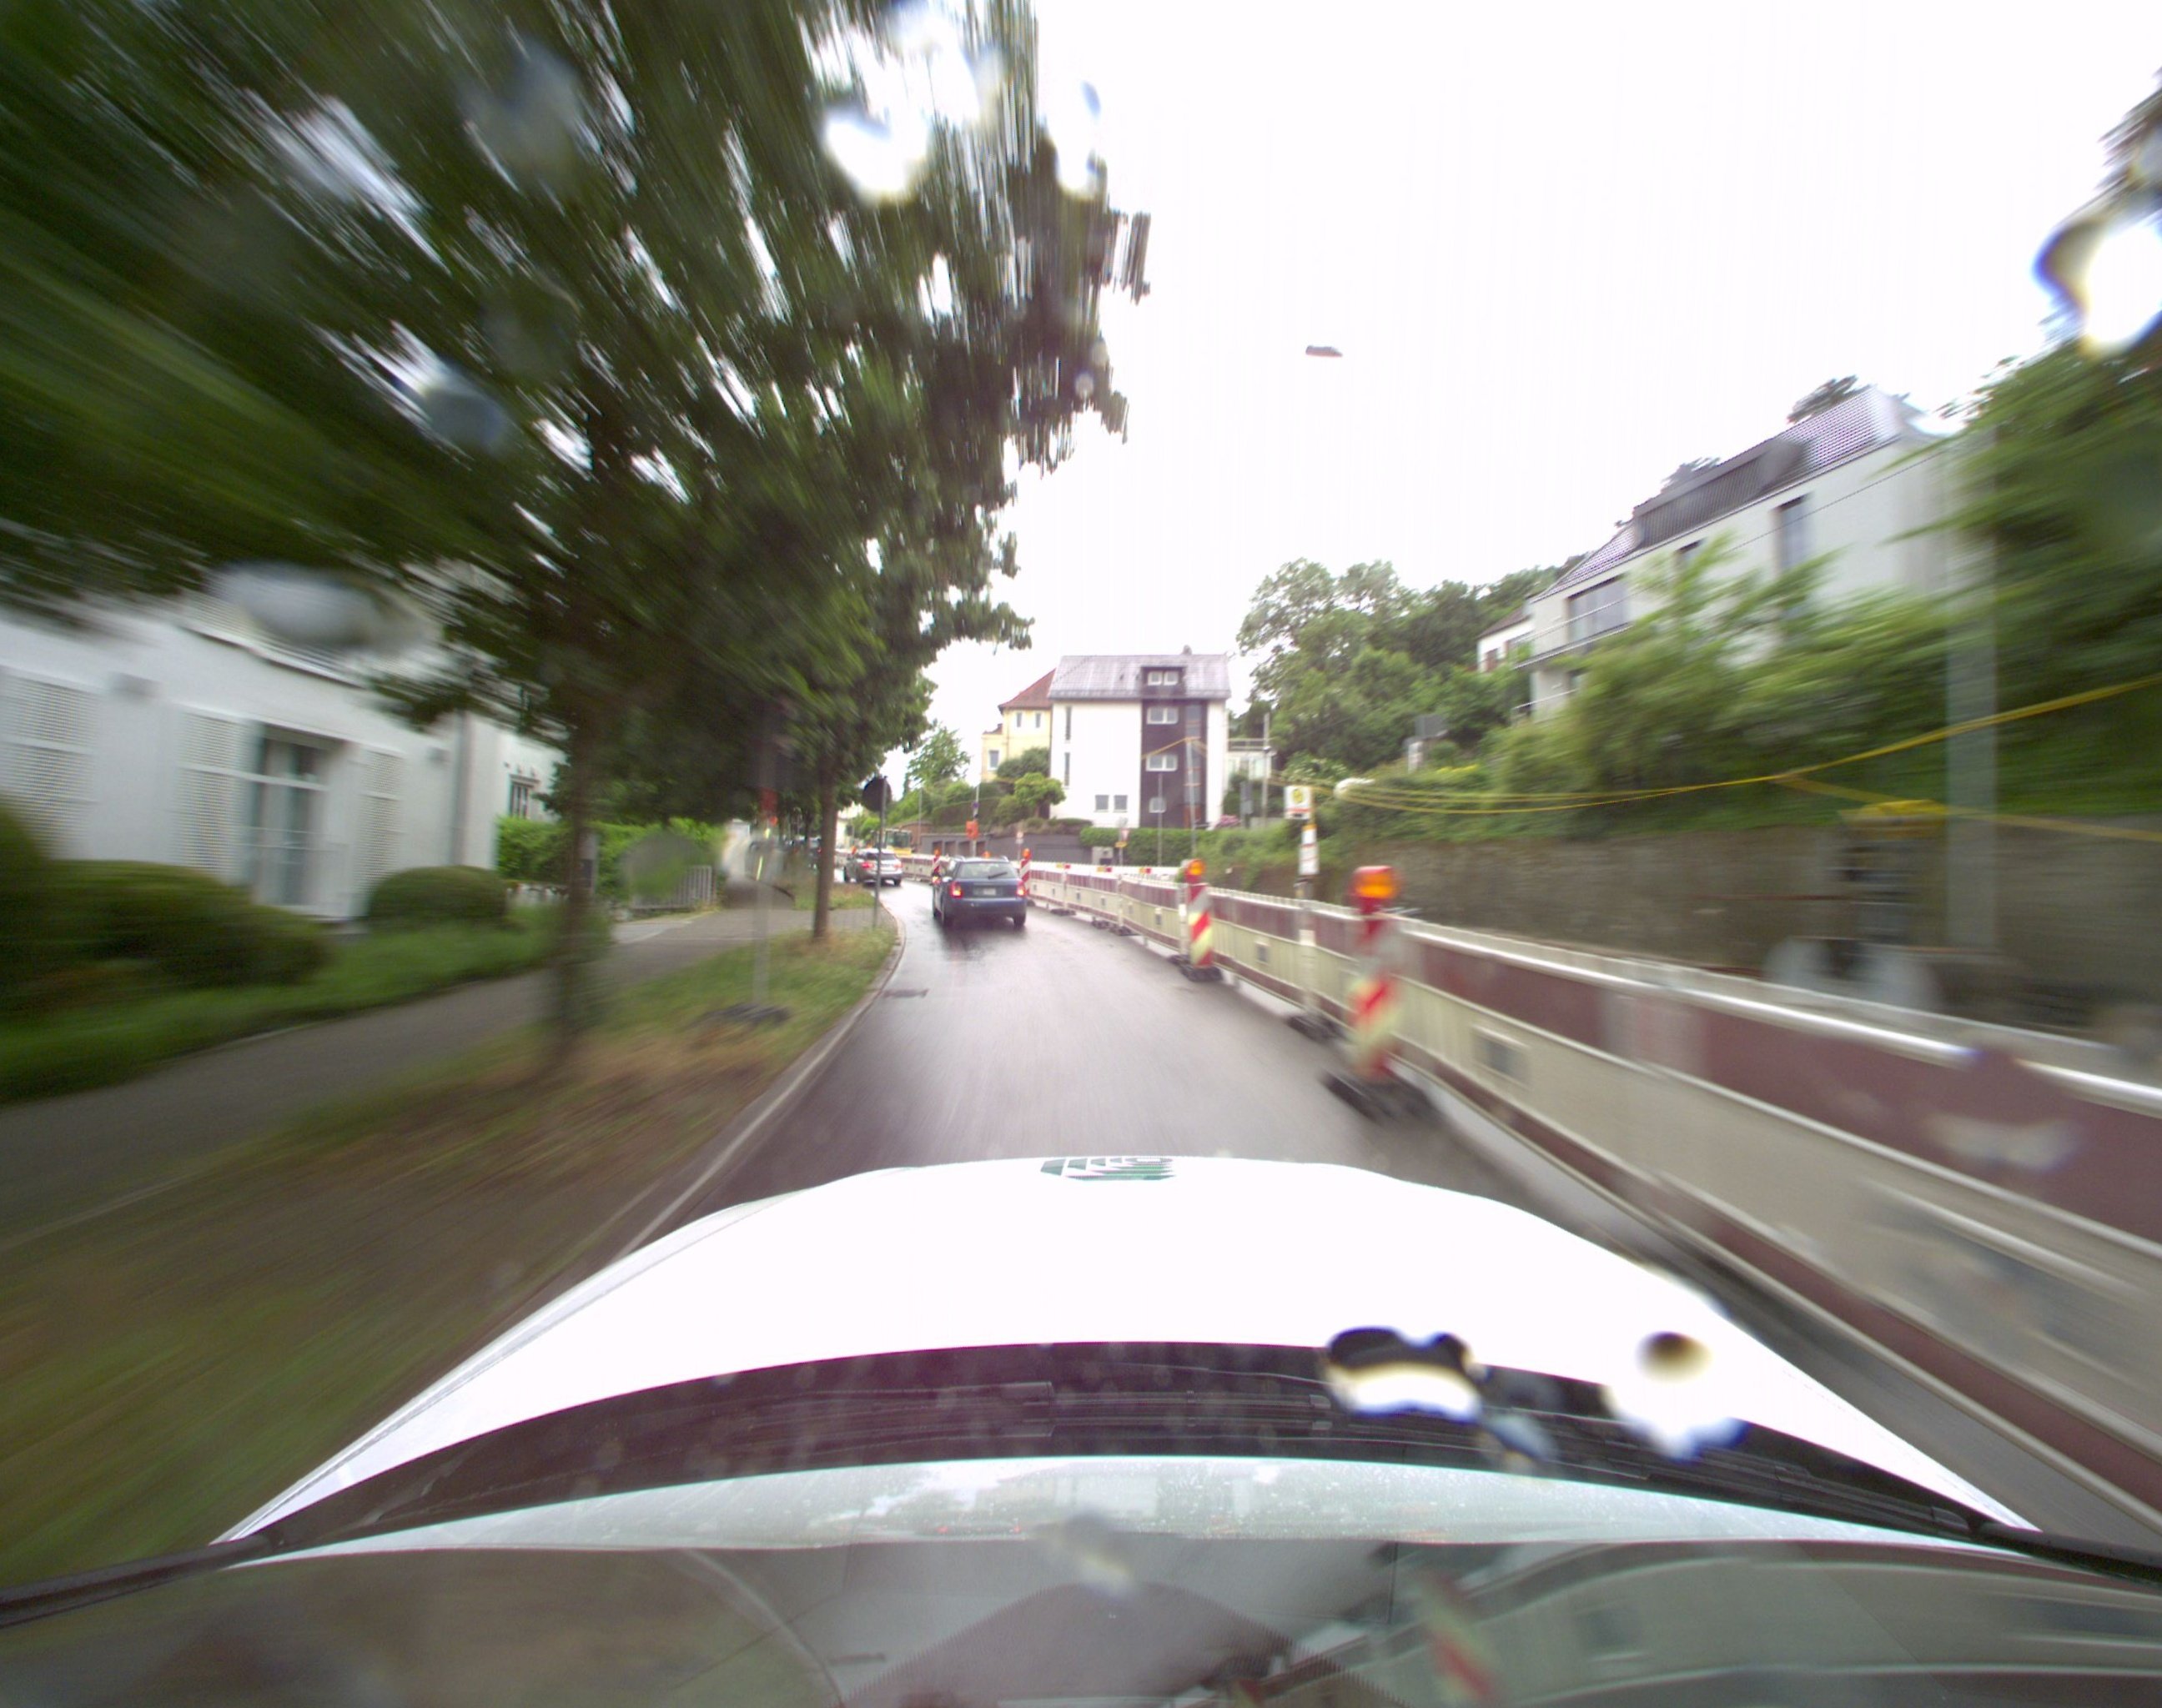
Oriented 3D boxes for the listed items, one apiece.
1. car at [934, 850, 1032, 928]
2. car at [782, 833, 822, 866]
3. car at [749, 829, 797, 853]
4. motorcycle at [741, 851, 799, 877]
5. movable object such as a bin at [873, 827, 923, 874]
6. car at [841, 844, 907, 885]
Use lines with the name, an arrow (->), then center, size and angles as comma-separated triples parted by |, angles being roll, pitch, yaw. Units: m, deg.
car -> -2.273, 0.692, 17.992 | 1.787, 1.442, 3.948 | 2, 1, -12
car -> -16.895, -0.263, 49.224 | 2.002, 1.794, 3.968 | -1, -2, -24
car -> -22.108, -0.878, 58.358 | 1.736, 1.486, 4.025 | 0, -3, -44
motorcycle -> -15.421, 0.493, 40.416 | 2.612, 1.234, 0.882 | 2, -1, -27
movable object such as a bin -> -10.776, -0.272, 47.824 | 2.004, 2.613, 3.966 | 0, 2, -26
car -> -8.794, 0.448, 34.358 | 1.936, 1.618, 4.284 | 0, -1, -25
